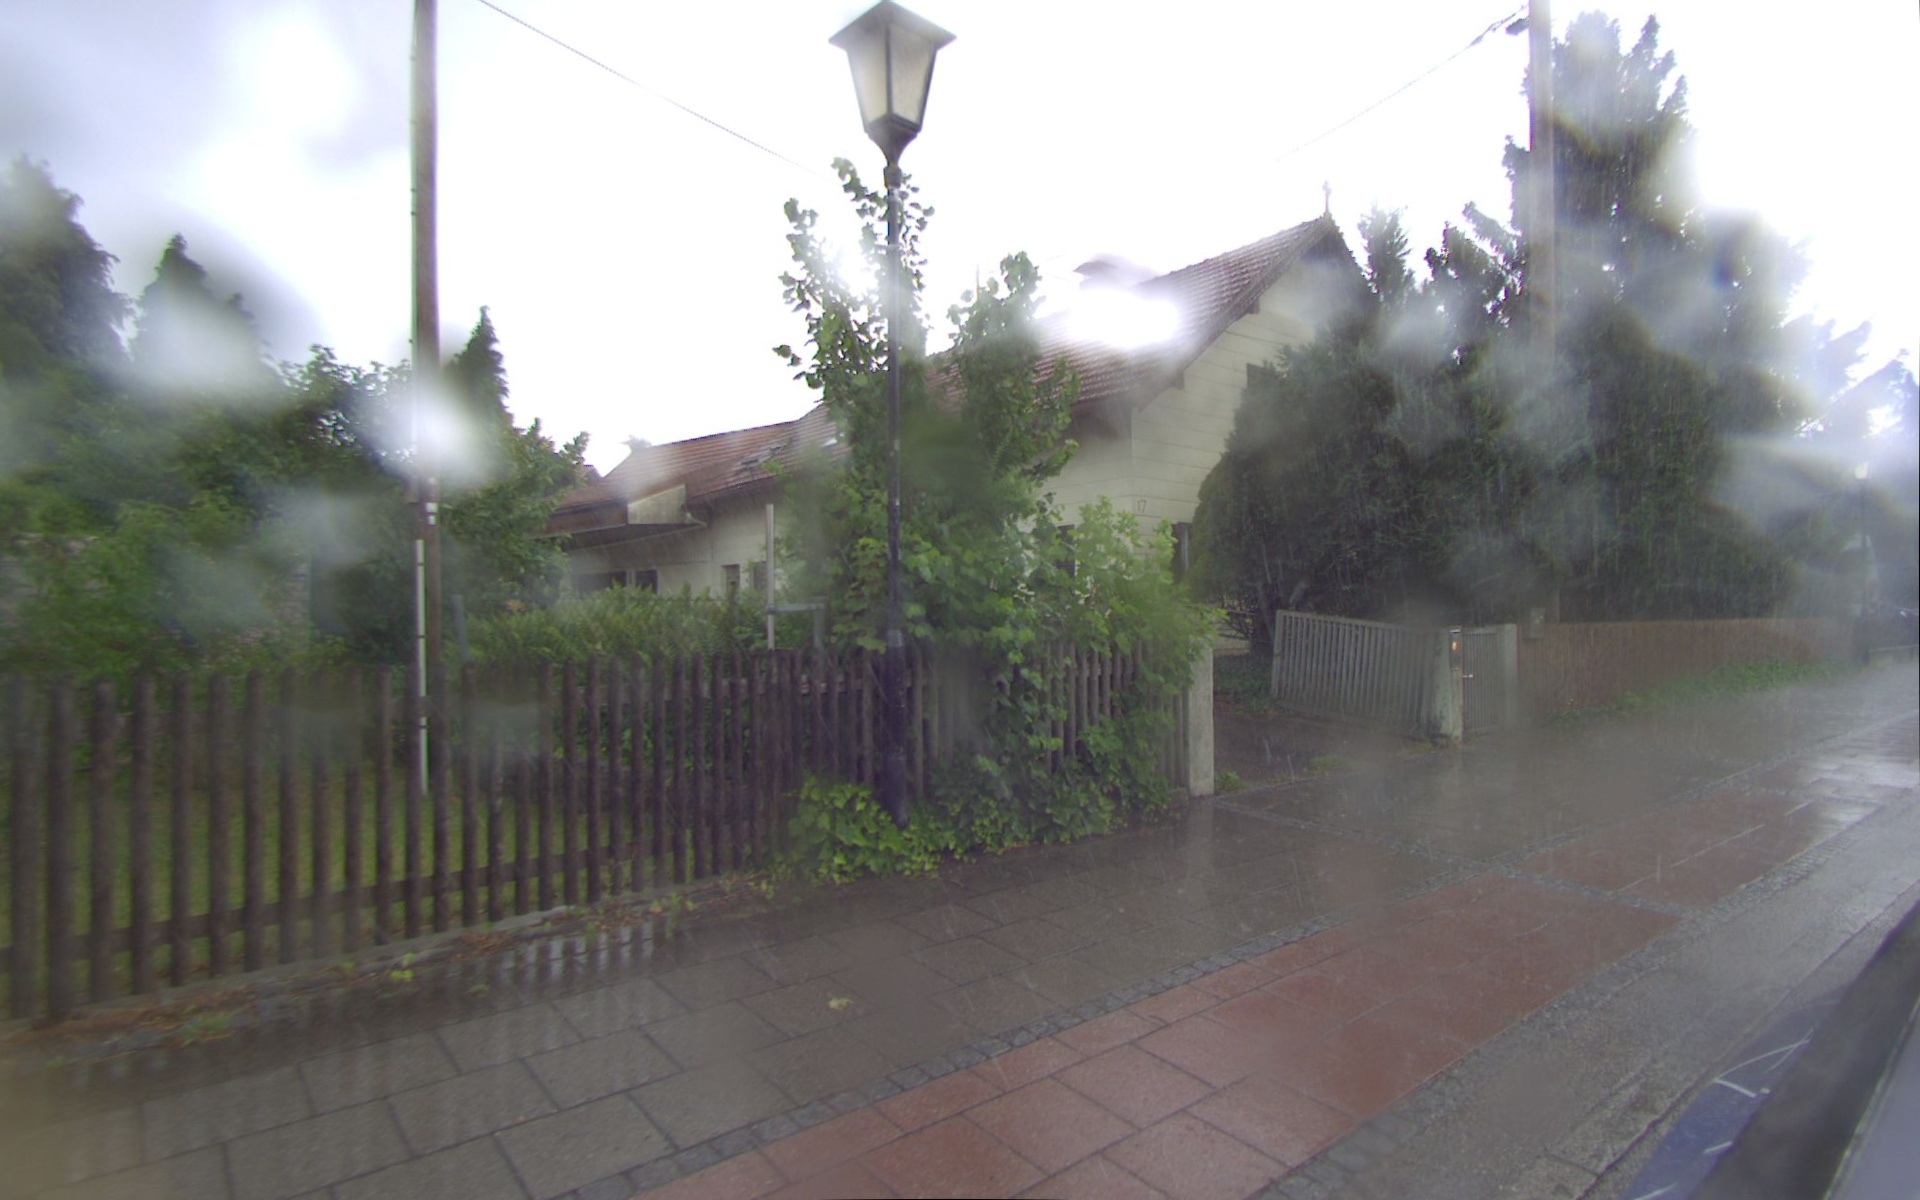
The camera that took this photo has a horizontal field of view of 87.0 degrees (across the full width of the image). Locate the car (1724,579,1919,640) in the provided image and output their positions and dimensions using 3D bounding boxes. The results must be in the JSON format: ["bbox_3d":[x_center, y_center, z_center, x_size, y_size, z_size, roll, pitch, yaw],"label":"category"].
[{"bbox_3d":[23.974,0.210,27.886,1.801,1.438,4.433,-1,3,-44],"label":"car"}]

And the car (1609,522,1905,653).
[{"bbox_3d":[18.704,-0.376,23.979,5.304,2.761,1.969,3,2,44],"label":"car"}]

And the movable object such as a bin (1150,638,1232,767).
[{"bbox_3d":[1.833,0.796,8.045,0.438,0.947,0.435,0,2,-37],"label":"movable object such as a bin"}]
